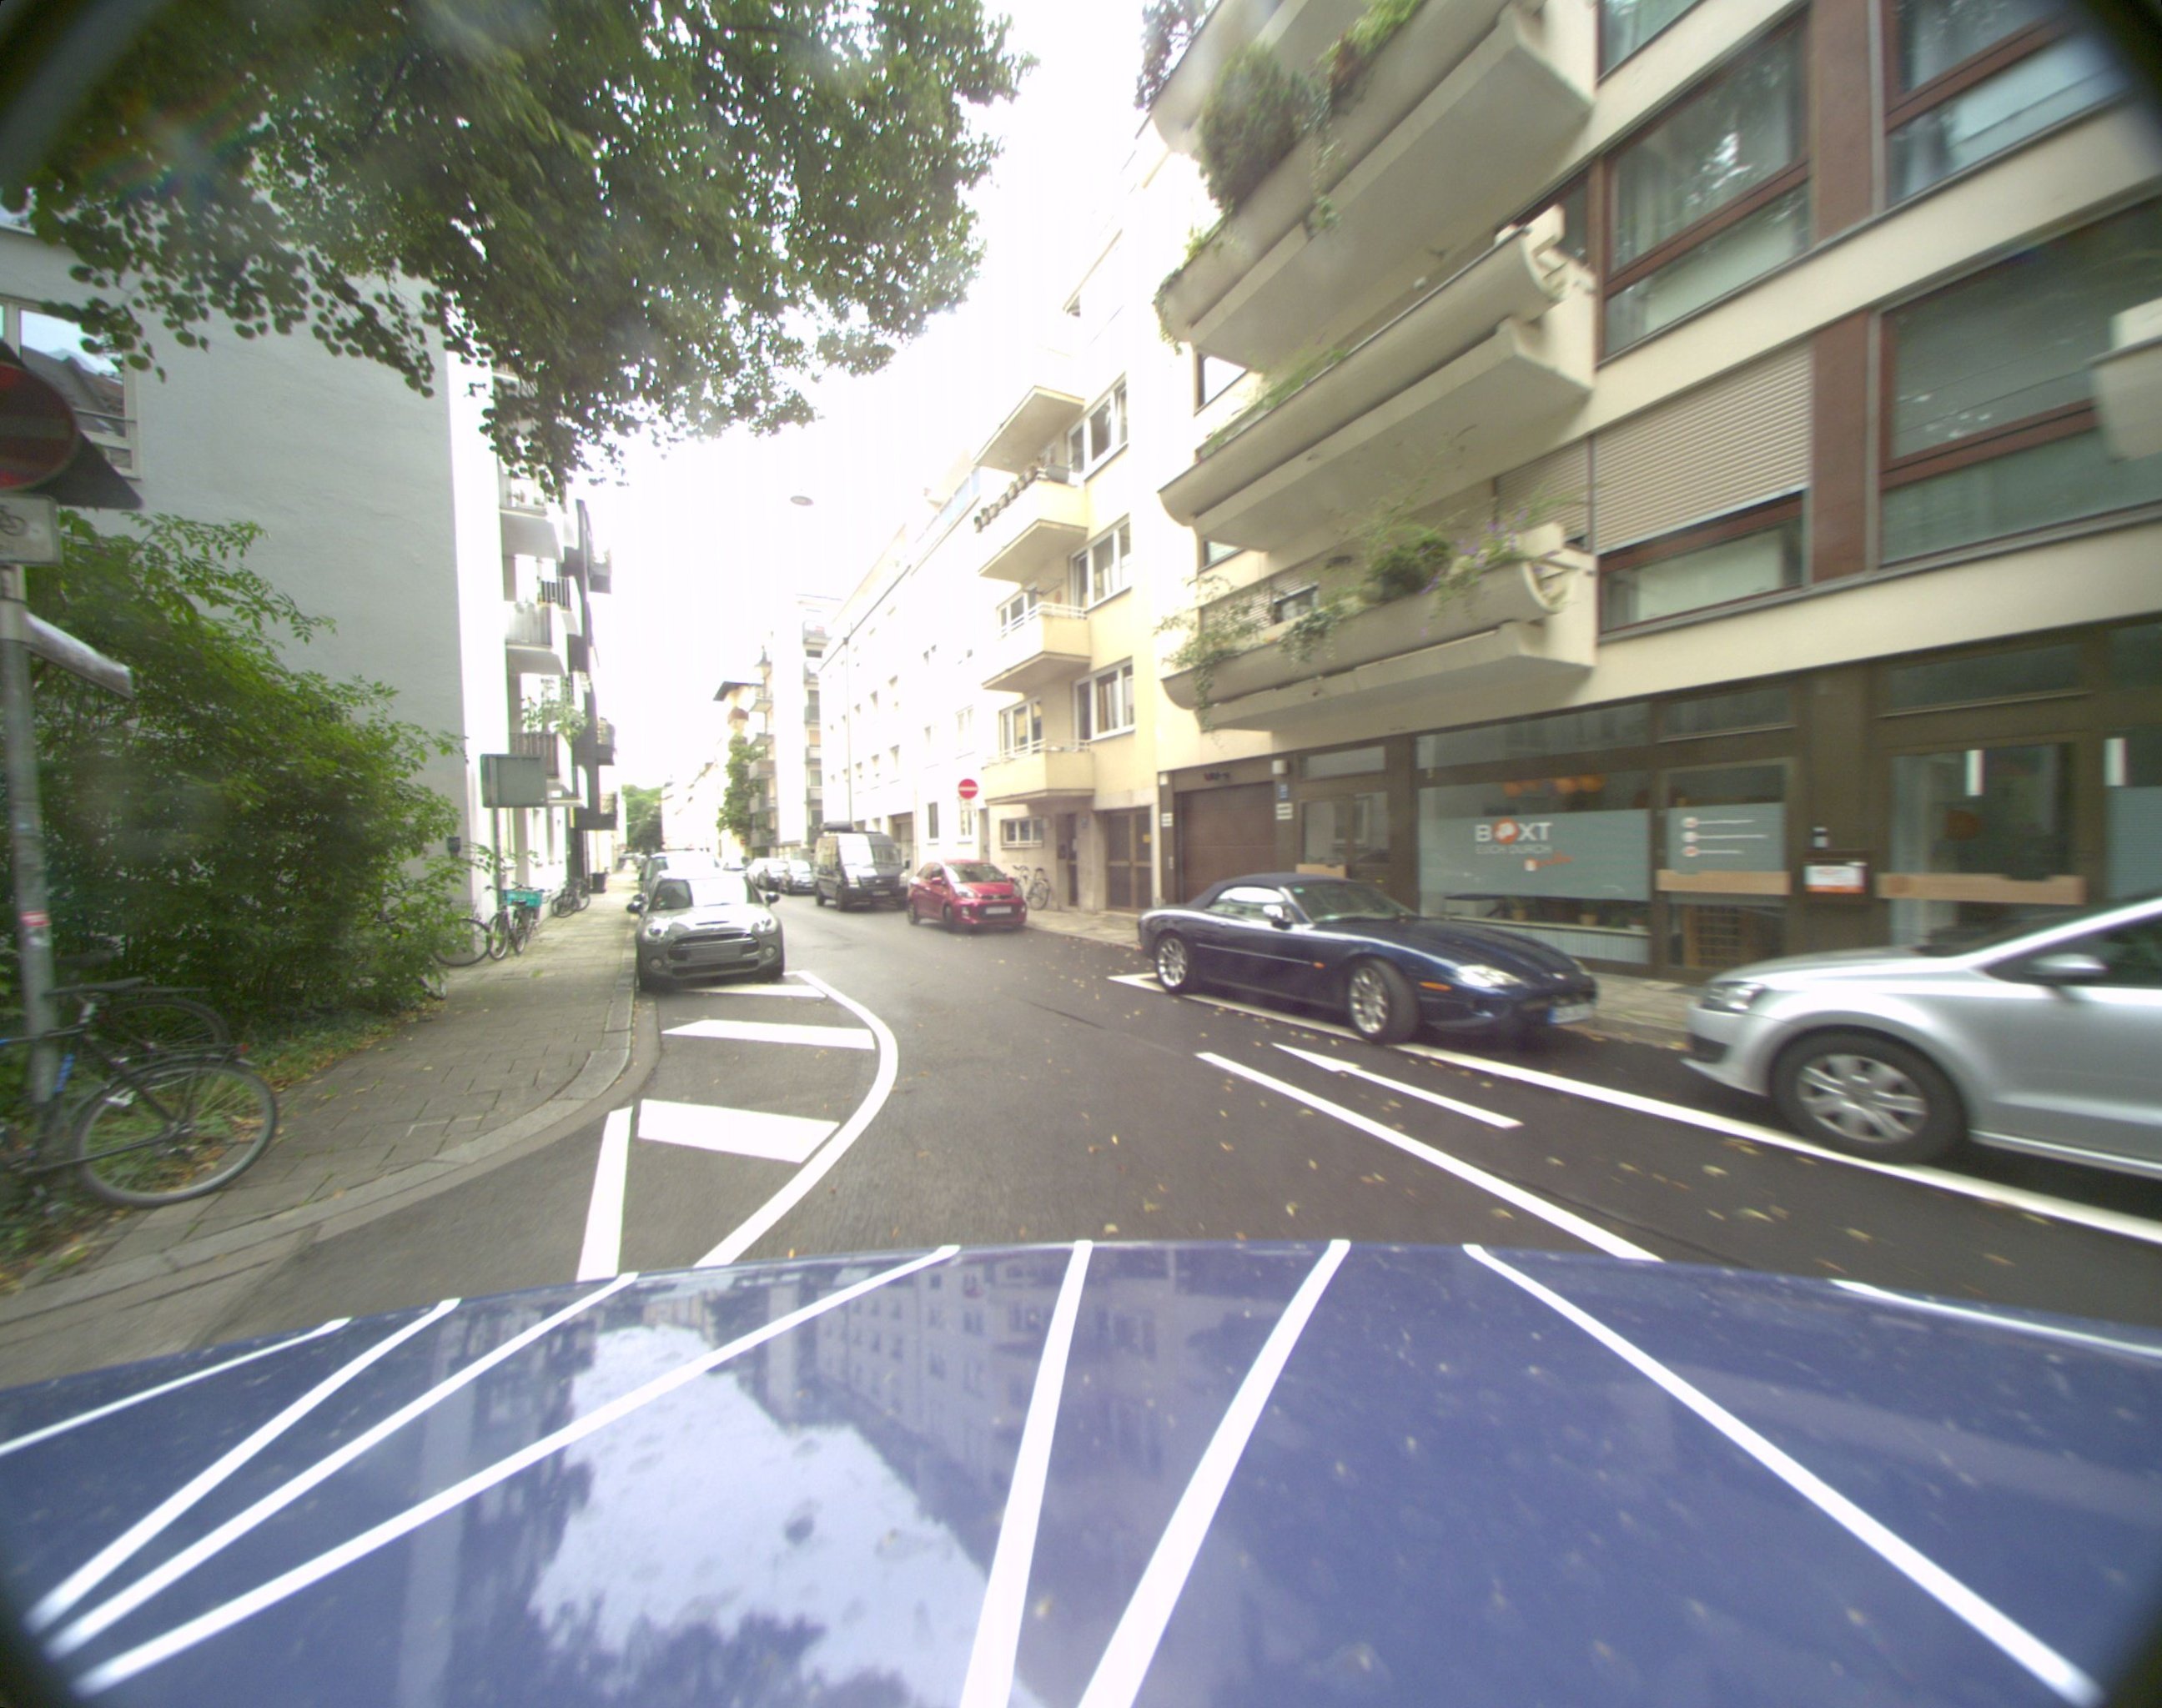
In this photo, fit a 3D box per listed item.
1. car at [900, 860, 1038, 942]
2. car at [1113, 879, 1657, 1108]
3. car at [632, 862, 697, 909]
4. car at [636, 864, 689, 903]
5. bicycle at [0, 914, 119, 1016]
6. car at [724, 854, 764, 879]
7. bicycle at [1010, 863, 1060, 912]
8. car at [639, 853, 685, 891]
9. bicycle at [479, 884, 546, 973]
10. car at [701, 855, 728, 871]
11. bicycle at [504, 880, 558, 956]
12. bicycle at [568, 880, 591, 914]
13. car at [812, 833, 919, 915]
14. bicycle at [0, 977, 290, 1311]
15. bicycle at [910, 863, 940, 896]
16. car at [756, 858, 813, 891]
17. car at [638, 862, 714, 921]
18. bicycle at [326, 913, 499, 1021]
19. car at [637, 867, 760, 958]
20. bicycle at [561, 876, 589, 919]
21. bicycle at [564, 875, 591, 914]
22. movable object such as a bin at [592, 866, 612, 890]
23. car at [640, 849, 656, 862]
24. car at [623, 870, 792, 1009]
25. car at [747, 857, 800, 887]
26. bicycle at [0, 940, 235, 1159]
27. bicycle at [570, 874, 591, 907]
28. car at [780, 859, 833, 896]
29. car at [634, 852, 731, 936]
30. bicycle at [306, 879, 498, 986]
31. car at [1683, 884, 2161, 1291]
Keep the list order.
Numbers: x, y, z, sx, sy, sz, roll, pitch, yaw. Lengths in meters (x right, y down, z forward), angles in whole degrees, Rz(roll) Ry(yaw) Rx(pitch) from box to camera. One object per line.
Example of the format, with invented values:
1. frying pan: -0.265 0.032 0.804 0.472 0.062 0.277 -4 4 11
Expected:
1. car: -2.522 0.901 16.382 1.627 1.488 3.700 -2 1 -31
2. car: 2.306 0.942 7.131 1.806 1.270 4.606 0 0 -30
3. car: -15.691 1.101 28.524 1.767 1.423 4.250 -6 3 -32
4. car: -18.069 1.210 32.732 1.743 1.421 4.192 -2 1 -31
5. bicycle: -11.964 1.250 8.284 1.704 1.017 0.538 -3 2 -36
6. car: -23.299 0.823 52.406 1.976 1.598 4.529 -2 1 -30
7. bicycle: -1.169 0.813 18.922 0.469 1.142 1.756 -3 1 -29
8. car: -23.322 0.929 42.185 1.991 1.829 5.171 -4 3 -30
9. bicycle: -9.039 1.134 12.134 0.562 1.213 1.913 -3 1 -30
10. car: -35.889 0.872 74.373 1.976 1.369 4.285 -2 1 -30
11. bicycle: -10.180 1.138 14.109 0.626 1.213 2.243 -3 1 -33
12. bicycle: -16.077 1.366 24.375 0.479 0.997 1.548 -3 2 -31
13. car: -6.881 0.531 23.814 2.028 2.265 5.377 0 1 -29
14. bicycle: -4.496 1.218 2.996 0.553 1.131 1.776 -1 1 25
15. bicycle: -5.590 0.905 27.164 0.465 1.091 1.866 -3 2 -28
16. car: -14.389 0.926 36.748 1.809 1.409 4.216 -2 1 -32
17. car: -13.012 1.105 24.282 1.915 1.545 4.613 -2 1 -30
18. bicycle: -7.108 1.191 8.087 1.632 1.050 0.452 -2 2 13
19. car: -7.651 1.023 15.000 1.842 1.411 4.048 -2 1 -31
20. bicycle: -14.819 1.249 22.272 0.573 1.144 1.427 -3 1 -31
21. bicycle: -15.654 1.241 23.666 0.573 1.144 1.559 -3 1 -31
22. movable object such as a bin: -23.338 1.157 37.018 0.799 1.133 0.572 -2 2 -31
23. car: -61.114 0.189 107.181 1.900 1.621 4.285 -2 1 -30
24. car: -5.337 1.013 10.738 1.751 1.433 3.990 -2 1 -29
25. car: -16.752 0.901 41.254 1.921 1.429 4.796 -2 1 -30
26. bicycle: -6.079 1.128 4.305 1.638 1.050 0.604 -3 2 -44
27. bicycle: -16.913 1.229 25.712 0.479 1.042 1.518 -3 1 -31
28. car: -11.928 0.969 32.895 1.619 1.438 3.734 1 0 -28
29. car: -10.188 0.864 19.225 1.883 1.781 4.770 -2 1 -30
30. bicycle: -9.149 1.016 10.351 1.857 1.223 0.576 -3 2 -38
31. car: 4.852 0.891 2.799 1.568 1.413 3.824 0 0 -31
